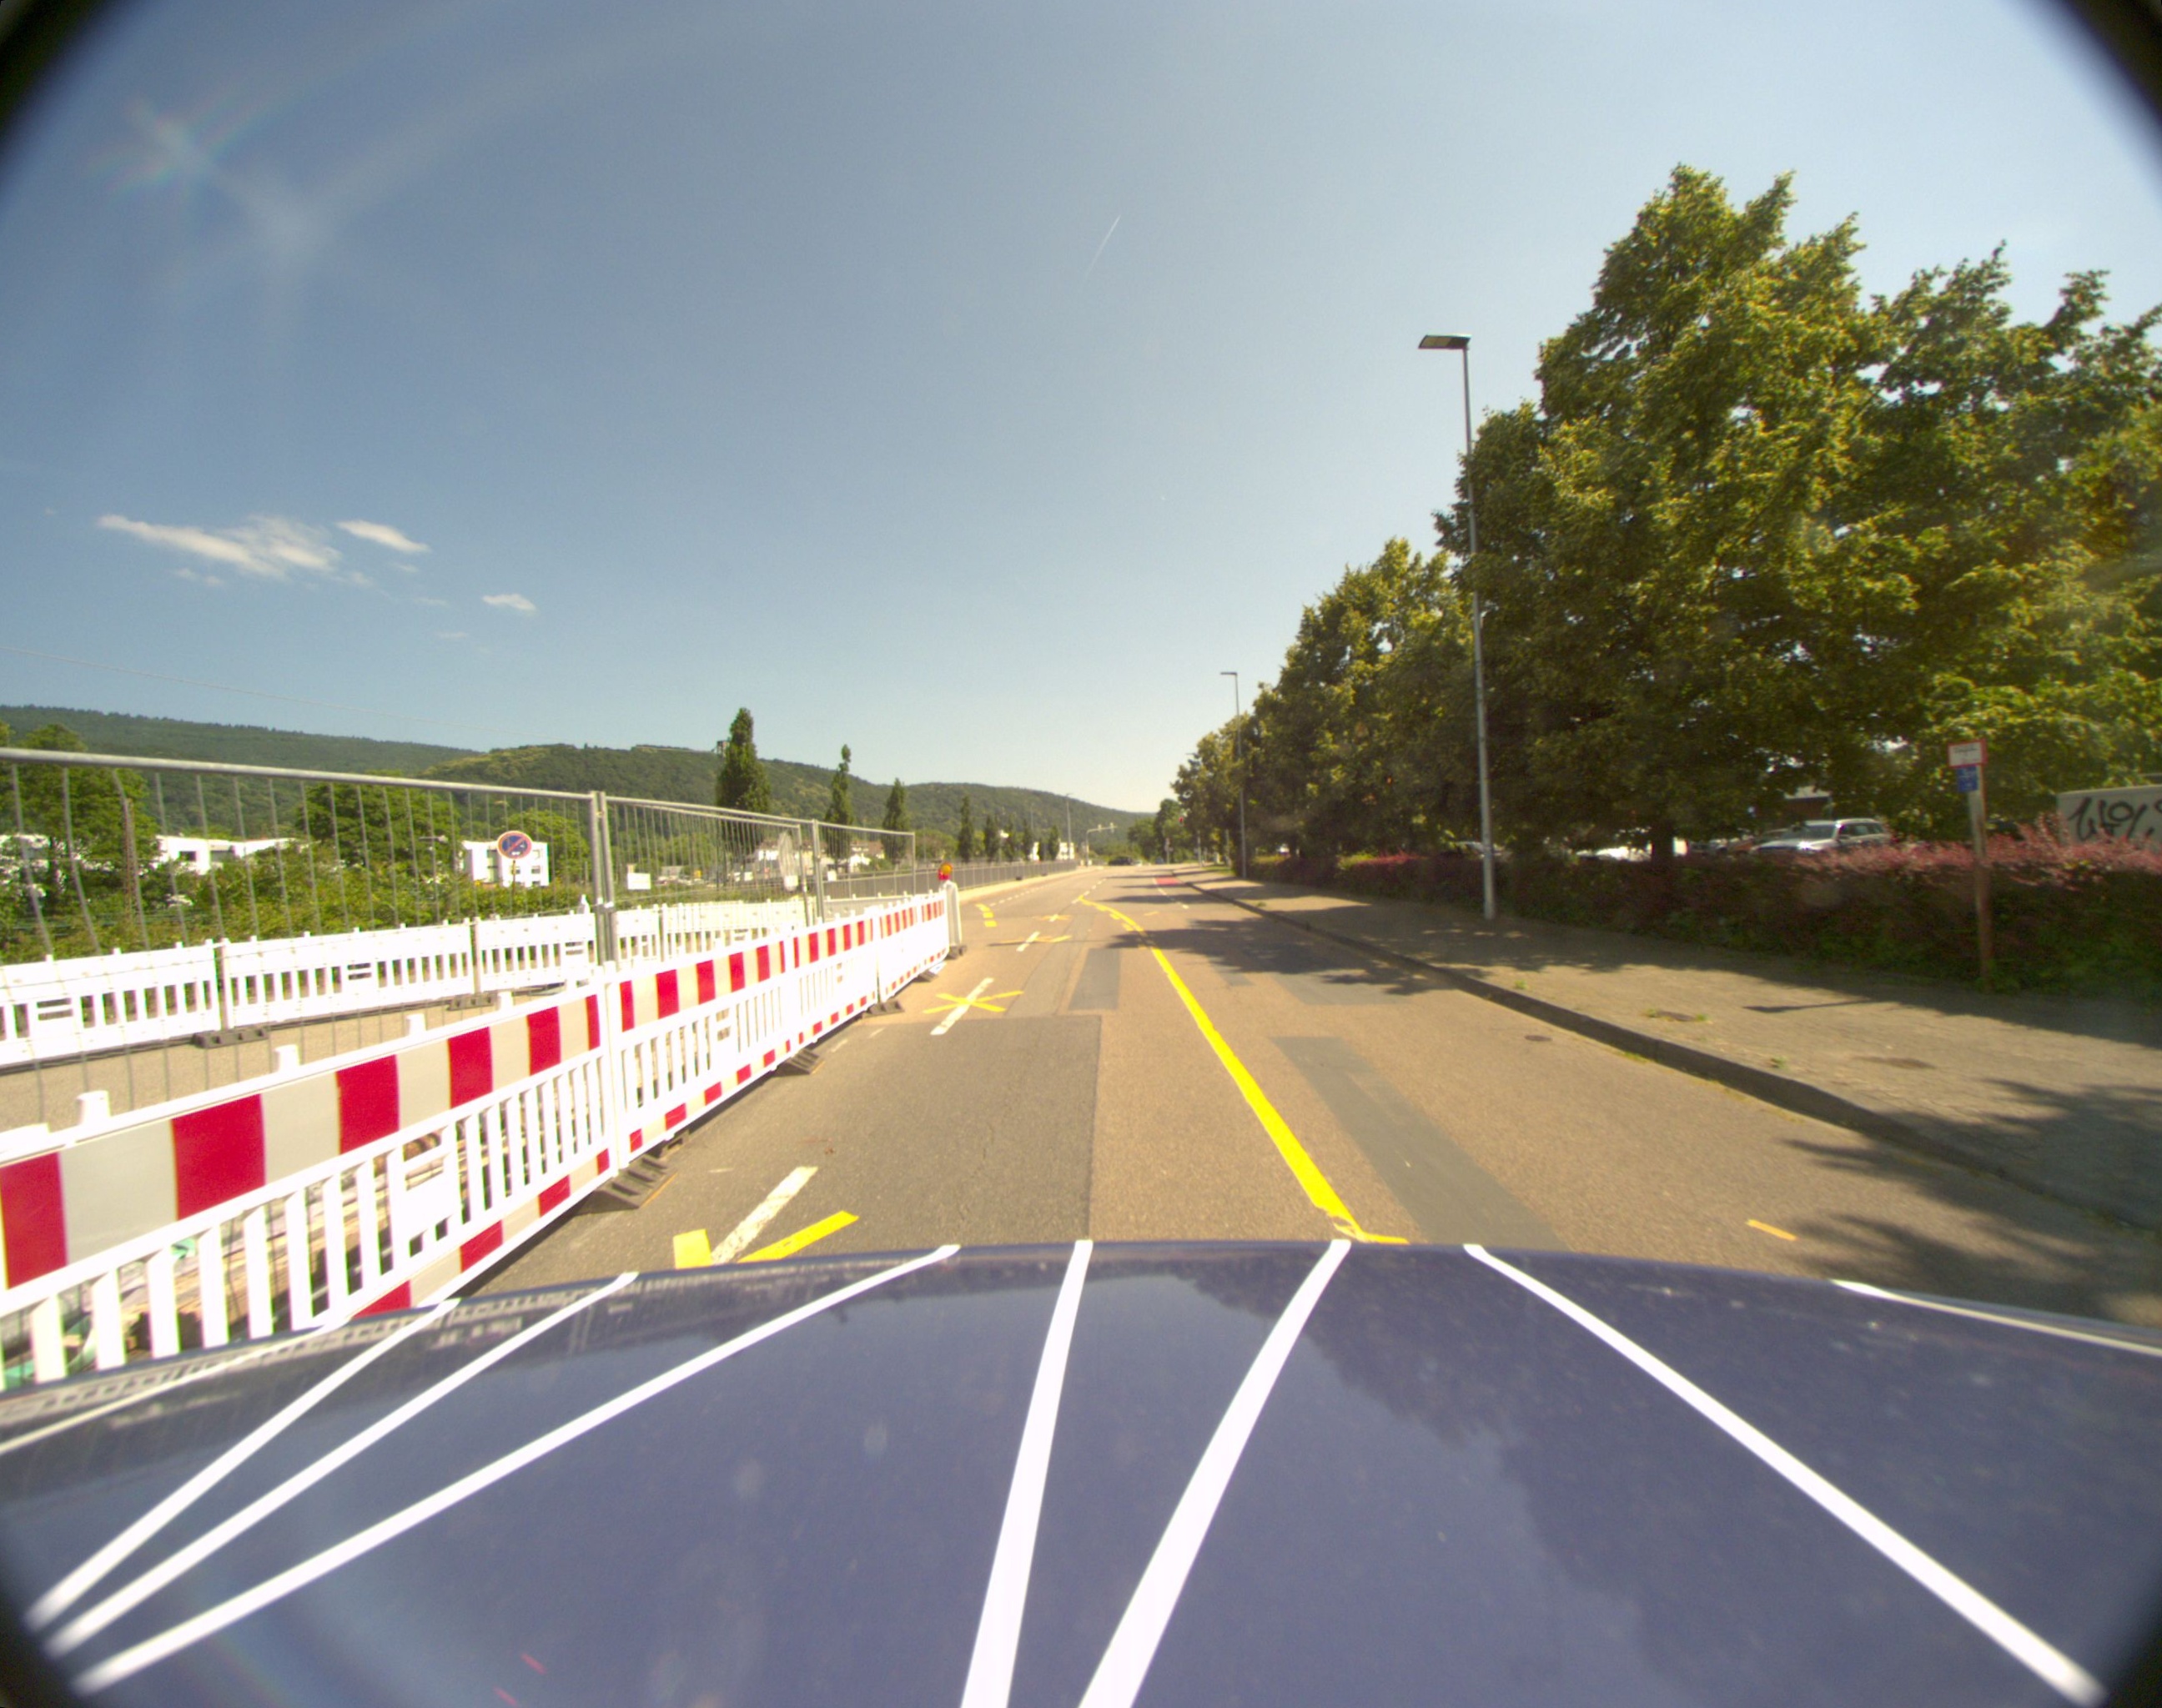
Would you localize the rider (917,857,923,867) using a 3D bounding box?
[{"bbox_3d":[-30.035,1.490,141.532,0.684,1.804,0.548,-2,4,31],"label":"rider"}]

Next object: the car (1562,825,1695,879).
[{"bbox_3d":[20.916,-0.070,29.066,4.356,1.816,1.747,-3,-1,-16],"label":"car"}]

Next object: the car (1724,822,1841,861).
[{"bbox_3d":[32.458,-0.543,35.297,1.669,1.622,3.721,-3,0,-10],"label":"car"}]

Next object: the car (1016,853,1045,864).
[{"bbox_3d":[-8.236,0.759,124.168,4.359,1.618,1.834,-3,3,32],"label":"car"}]

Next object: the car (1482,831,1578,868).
[{"bbox_3d":[23.862,-0.196,40.583,1.761,1.788,4.222,-3,0,-19],"label":"car"}]

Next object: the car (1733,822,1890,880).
[{"bbox_3d":[23.602,-0.100,24.597,3.812,1.574,1.903,-3,0,-14],"label":"car"}]

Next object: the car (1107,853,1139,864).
[{"bbox_3d":[6.422,0.738,115.874,4.359,1.339,1.834,-3,3,32],"label":"car"}]

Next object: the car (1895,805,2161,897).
[{"bbox_3d":[19.184,-0.107,14.497,2.072,1.551,5.031,-2,0,3],"label":"car"}]

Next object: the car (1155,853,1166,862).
[{"bbox_3d":[14.280,0.594,136.400,1.609,1.527,3.683,-3,0,3],"label":"car"}]

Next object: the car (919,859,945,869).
[{"bbox_3d":[-26.782,1.785,136.134,4.359,1.618,1.834,-3,3,31],"label":"car"}]

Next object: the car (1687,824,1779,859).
[{"bbox_3d":[33.558,-0.635,39.113,3.613,1.523,1.619,-3,0,-10],"label":"car"}]

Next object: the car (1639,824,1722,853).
[{"bbox_3d":[37.755,-0.971,47.973,3.989,1.584,1.931,-2,0,37],"label":"car"}]
